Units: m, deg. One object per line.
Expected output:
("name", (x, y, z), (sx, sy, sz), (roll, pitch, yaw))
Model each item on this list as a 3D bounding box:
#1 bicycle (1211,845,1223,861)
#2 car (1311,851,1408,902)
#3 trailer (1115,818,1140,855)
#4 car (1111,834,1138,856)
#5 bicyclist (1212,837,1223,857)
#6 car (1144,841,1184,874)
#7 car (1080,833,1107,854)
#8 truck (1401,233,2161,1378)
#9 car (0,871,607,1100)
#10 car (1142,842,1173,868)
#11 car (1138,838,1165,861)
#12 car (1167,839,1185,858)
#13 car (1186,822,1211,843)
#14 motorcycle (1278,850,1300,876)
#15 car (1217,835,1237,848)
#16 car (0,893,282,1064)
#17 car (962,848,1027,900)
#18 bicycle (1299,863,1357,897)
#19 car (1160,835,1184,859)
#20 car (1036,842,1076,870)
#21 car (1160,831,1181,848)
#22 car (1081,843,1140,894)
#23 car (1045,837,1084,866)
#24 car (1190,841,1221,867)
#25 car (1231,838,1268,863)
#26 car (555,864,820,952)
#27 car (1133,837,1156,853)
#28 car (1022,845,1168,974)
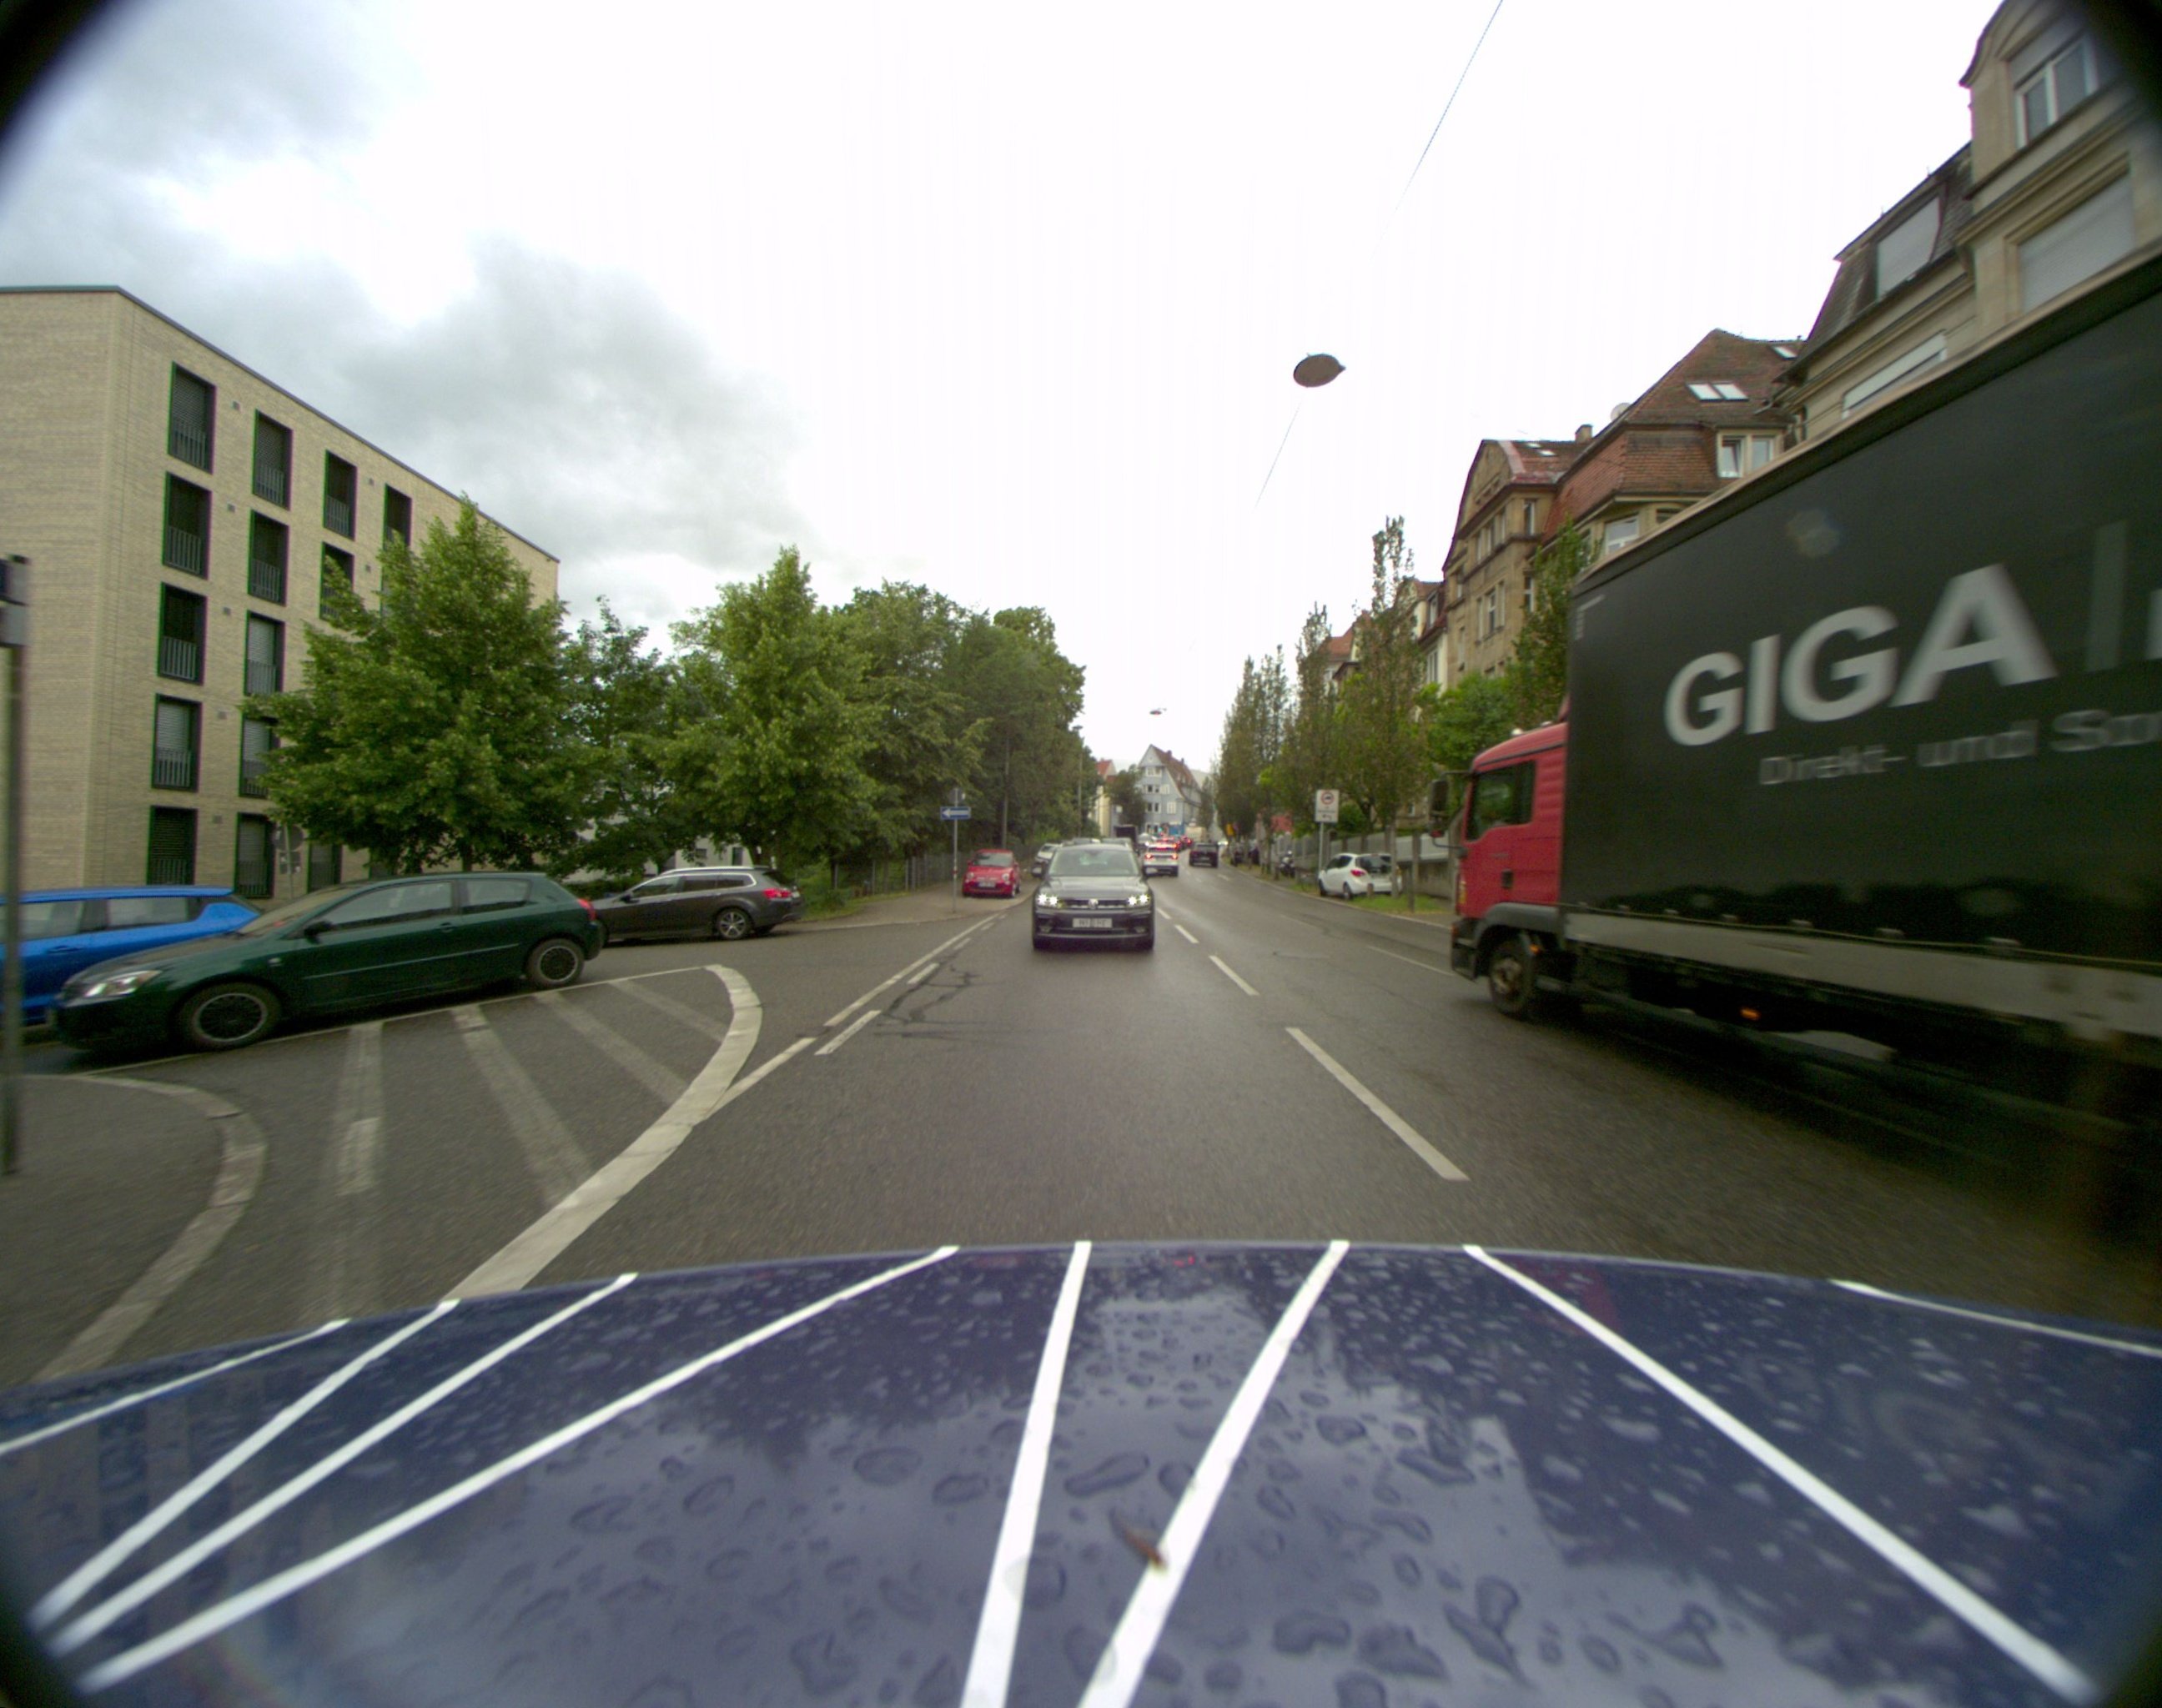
("bicycle", (10.833, -0.094, 60.426), (0.657, 1.228, 1.982), (1, 1, 3))
("car", (9.529, 0.715, 26.372), (1.746, 1.550, 4.301), (-1, 1, -1))
("trailer", (3.894, -1.436, 63.614), (1.966, 3.024, 2.365), (-1, 1, 6))
("car", (3.523, -0.703, 60.448), (1.924, 1.641, 4.136), (-1, 1, 6))
("bicyclist", (10.844, -0.576, 60.426), (0.657, 1.548, 0.991), (2, 1, 3))
("car", (4.140, 0.126, 38.442), (1.776, 1.509, 4.100), (2, 1, 4))
("car", (1.084, -0.943, 65.896), (1.924, 1.552, 4.013), (4, 2, 5))
("truck", (4.947, -0.159, 3.828), (2.654, 3.832, 9.306), (3, 1, 1))
("car", (-7.755, 1.074, 8.077), (1.850, 1.461, 4.116), (-1, 3, 31))
("car", (4.649, 0.026, 45.931), (1.766, 1.423, 3.886), (1, 2, 6))
("car", (4.909, -0.319, 52.555), (1.715, 1.471, 4.115), (3, 1, 7))
("car", (9.483, -0.599, 75.778), (1.655, 1.698, 4.115), (3, 2, 7))
("car", (14.836, -2.670, 95.692), (2.132, 2.492, 5.416), (3, 1, 18))
("motorcycle", (10.532, 0.449, 38.575), (0.657, 1.228, 1.982), (2, 1, 4))
("car", (23.924, -2.023, 124.480), (2.132, 2.015, 5.417), (4, 1, 21))
("car", (-10.771, 1.222, 7.476), (1.704, 1.483, 3.643), (-1, 0, 27))
("car", (-2.814, 0.598, 25.359), (1.613, 1.493, 3.957), (2, 1, 1))
("bicycle", (9.476, 0.991, 29.233), (1.980, 1.228, 0.657), (1, 2, 0))
("car", (7.042, -0.575, 58.694), (1.655, 1.698, 4.115), (3, 2, 7))
("car", (-1.404, 0.068, 44.300), (1.745, 1.455, 4.884), (4, 1, 4))
("car", (9.692, -1.545, 82.108), (1.620, 1.652, 4.118), (3, 1, 14))
("car", (1.060, 0.452, 27.485), (1.925, 1.641, 4.486), (-1, 1, 2))
("car", (-1.010, -0.181, 49.706), (1.924, 1.642, 4.884), (4, 1, 5))
("car", (8.276, -0.051, 50.717), (1.747, 1.509, 3.870), (4, 2, 7))
("car", (11.399, -0.261, 51.700), (2.000, 1.586, 3.828), (-2, 1, 6))
("car", (-7.806, 1.038, 15.454), (4.280, 1.489, 2.002), (-2, -1, -4))
("car", (6.824, -0.970, 81.018), (1.923, 1.641, 4.137), (-1, 1, 11))
("car", (0.192, 0.700, 12.407), (1.860, 1.641, 5.194), (1, 0, 0))
